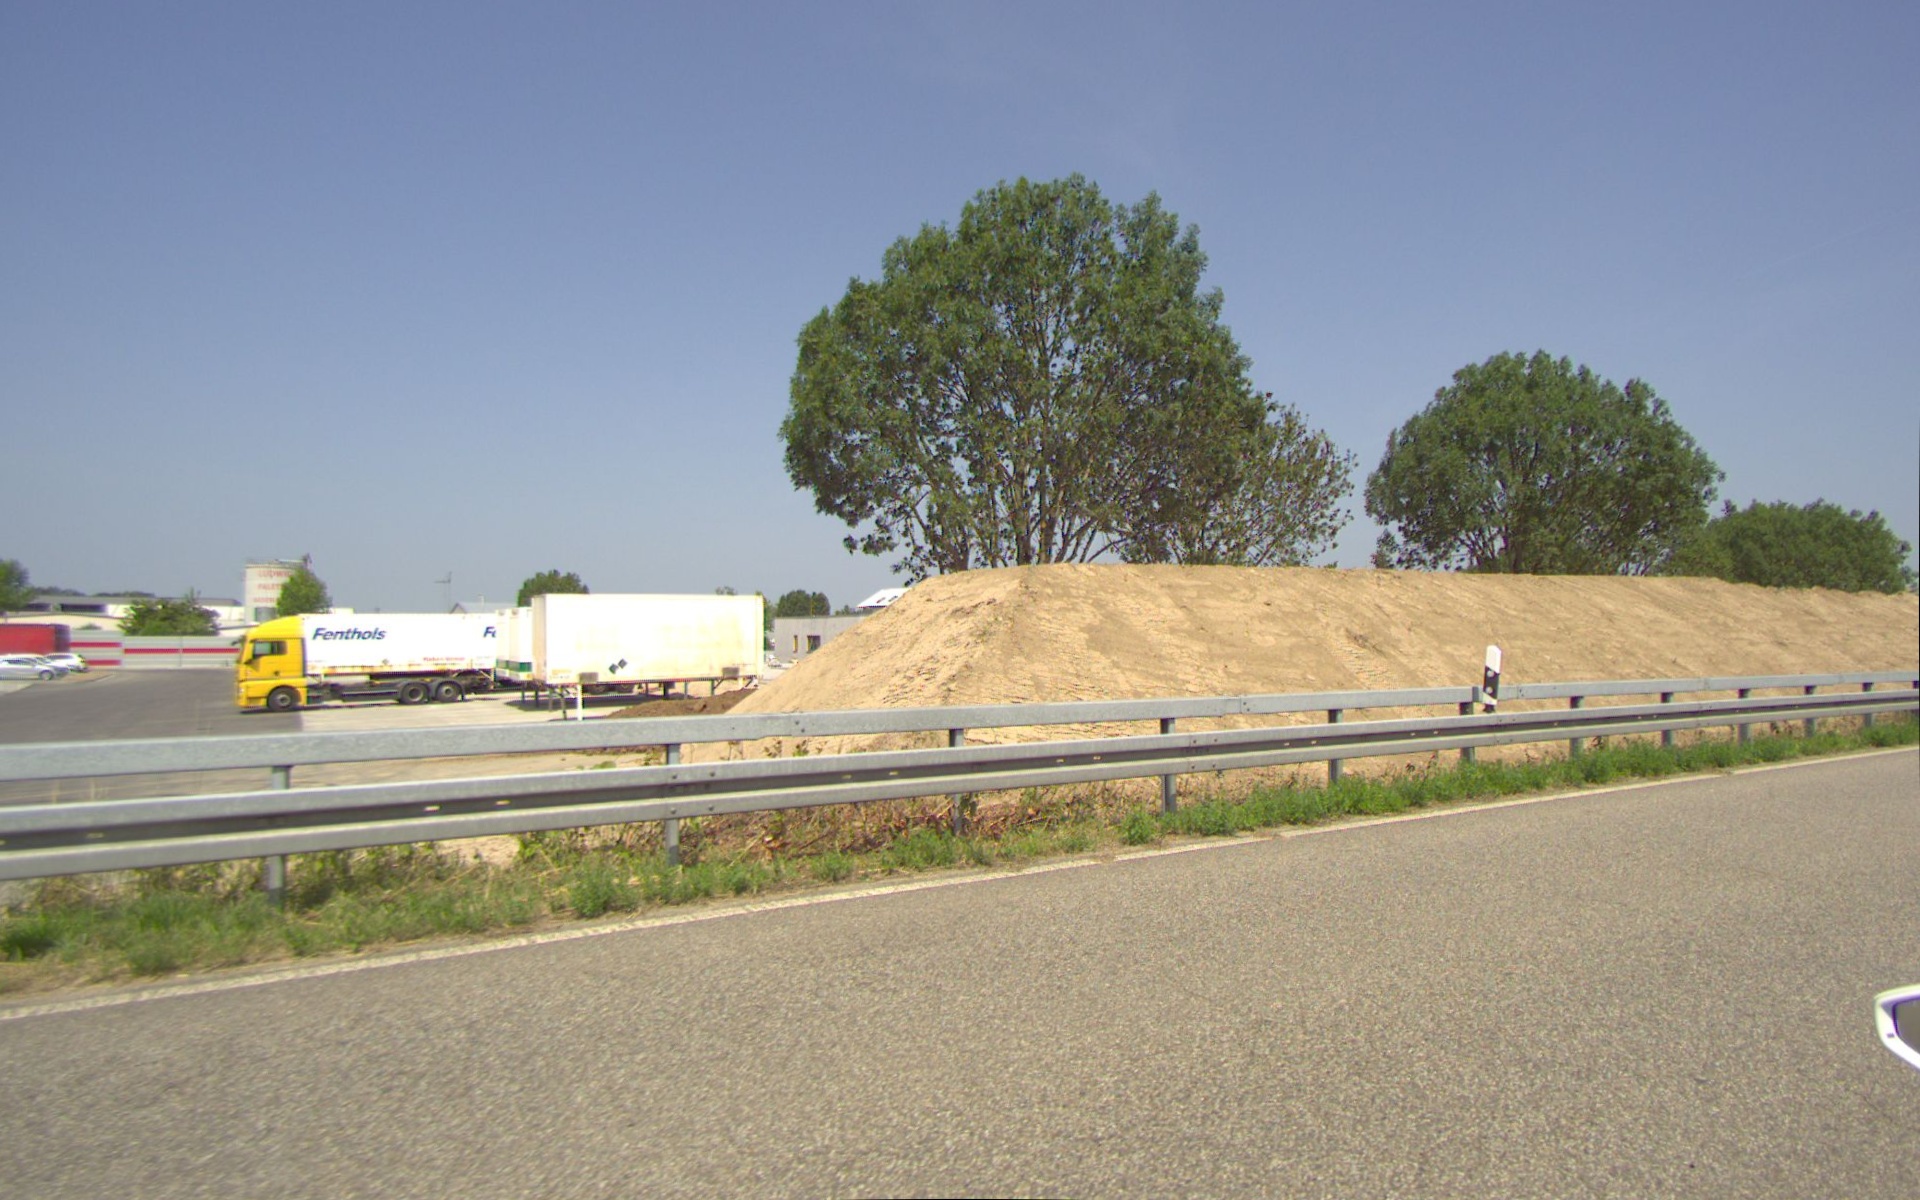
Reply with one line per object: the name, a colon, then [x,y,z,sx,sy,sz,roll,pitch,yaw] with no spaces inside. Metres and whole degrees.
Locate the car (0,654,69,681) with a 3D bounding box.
car: [-63.145,4.613,68.472,3.532,1.748,1.421,2,-4,-41]

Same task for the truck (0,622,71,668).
truck: [-76.450,3.601,79.558,8.759,3.552,1.991,0,-3,-22]

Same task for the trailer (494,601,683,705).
trailer: [-16.375,2.233,44.510,7.458,4.275,2.838,1,-1,-33]

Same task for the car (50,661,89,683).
car: [-65.376,5.275,73.754,2.133,1.531,1.083,2,-1,-42]

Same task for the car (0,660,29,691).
car: [-59.574,4.601,60.393,5.036,1.832,1.981,1,-4,-36]

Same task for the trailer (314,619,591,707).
trailer: [-22.804,2.678,45.889,11.077,3.556,2.348,1,-1,-40]

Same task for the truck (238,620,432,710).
truck: [-26.493,2.628,42.781,6.798,3.556,2.349,1,-1,-40]

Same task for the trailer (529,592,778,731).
trailer: [-10.524,1.984,34.913,7.871,4.390,2.662,1,-1,-34]

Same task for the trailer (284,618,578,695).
trailer: [-28.354,2.877,54.630,13.934,3.740,2.639,1,-1,-35]

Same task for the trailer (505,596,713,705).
trailer: [-14.550,1.985,41.933,7.814,4.203,2.728,1,-1,-33]

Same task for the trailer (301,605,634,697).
trailer: [-25.227,2.469,52.550,15.425,4.317,2.680,1,-1,-35]
